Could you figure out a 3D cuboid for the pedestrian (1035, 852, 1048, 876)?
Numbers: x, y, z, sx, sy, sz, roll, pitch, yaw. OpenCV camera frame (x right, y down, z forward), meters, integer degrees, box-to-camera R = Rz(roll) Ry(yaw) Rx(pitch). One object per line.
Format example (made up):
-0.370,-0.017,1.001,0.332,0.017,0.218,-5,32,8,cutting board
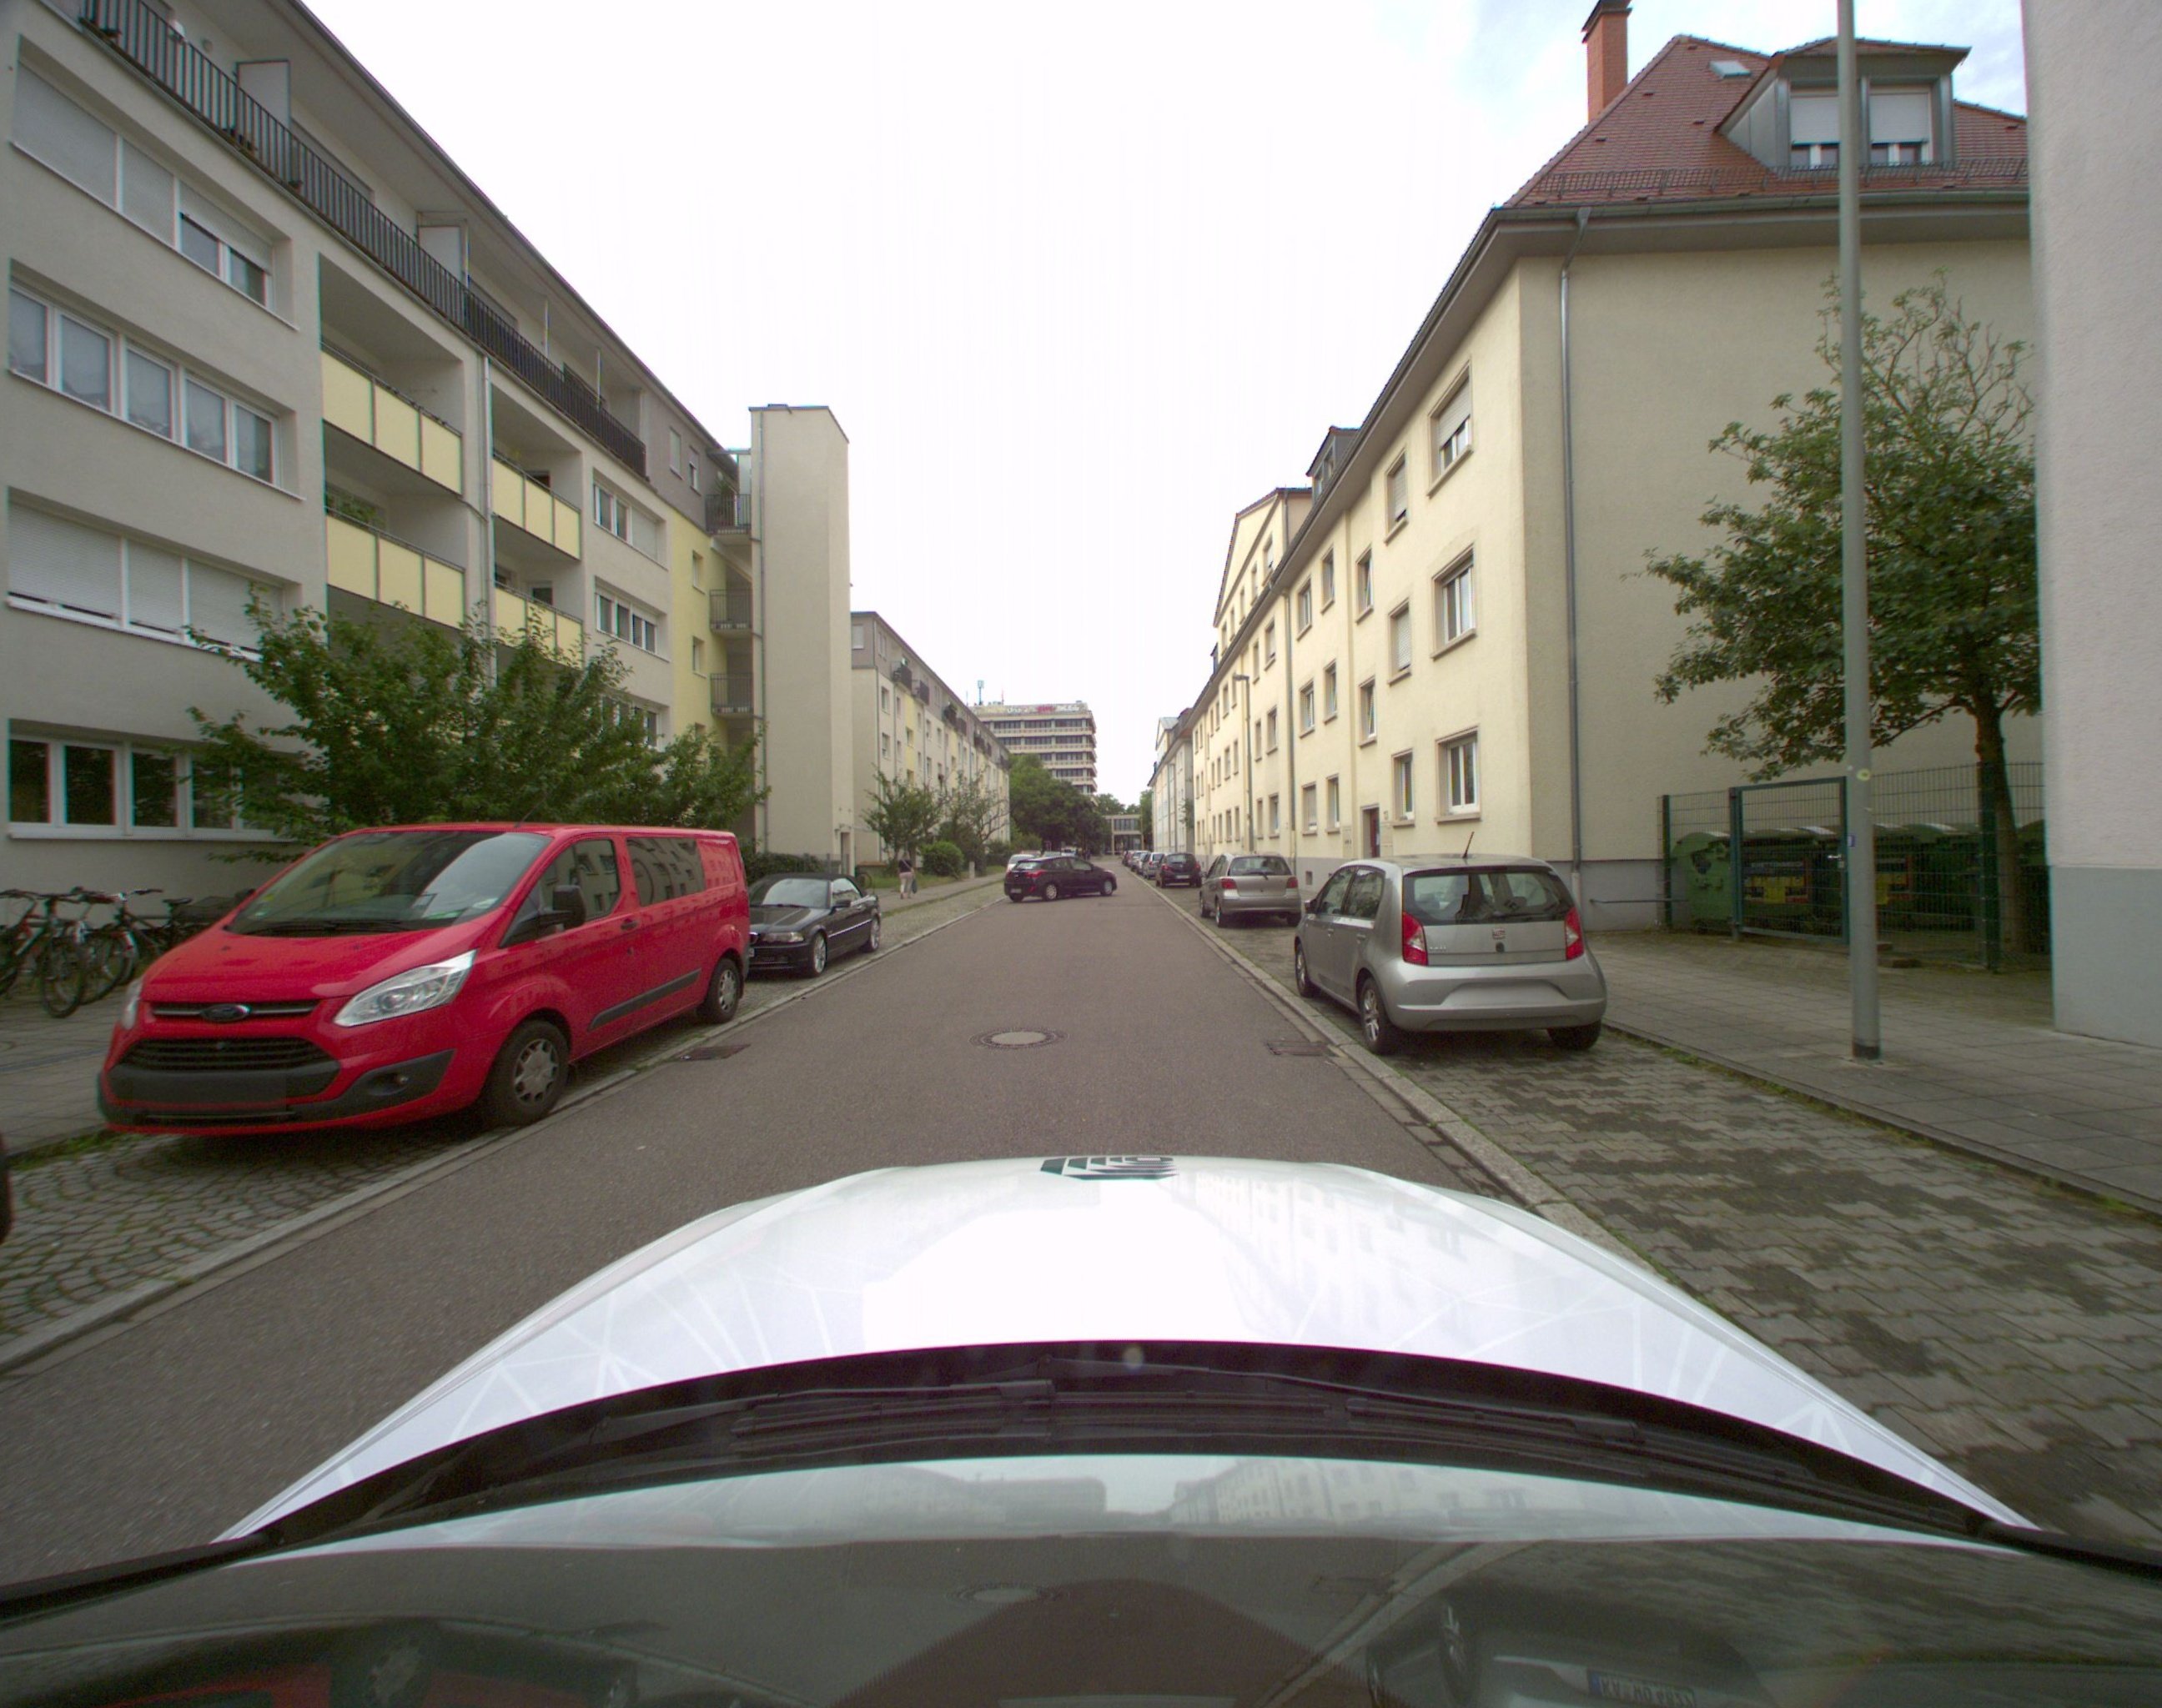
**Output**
-2.844,0.693,58.199,0.742,1.701,0.792,-2,0,-16,pedestrian

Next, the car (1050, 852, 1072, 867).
-1.999,0.545,81.718,1.888,1.452,4.523,1,0,2,car

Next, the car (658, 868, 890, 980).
-4.389,0.926,12.473,1.864,1.323,4.362,0,0,0,car

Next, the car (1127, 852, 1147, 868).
5.506,0.552,80.212,1.813,1.503,4.094,-1,0,2,car

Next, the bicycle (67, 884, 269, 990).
-10.322,0.921,9.225,1.824,1.118,0.571,-1,0,7,bicycle

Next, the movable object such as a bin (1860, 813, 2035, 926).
11.831,0.202,11.180,1.157,1.443,1.150,-1,0,1,movable object such as a bin

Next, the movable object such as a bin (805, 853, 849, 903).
-7.472,0.689,24.006,0.800,1.429,1.290,0,0,5,movable object such as a bin

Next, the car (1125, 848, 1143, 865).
5.510,0.247,85.263,1.813,1.603,4.094,-1,0,3,car

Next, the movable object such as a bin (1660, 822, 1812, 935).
8.943,0.321,11.190,1.157,1.443,1.150,-1,0,1,movable object such as a bin

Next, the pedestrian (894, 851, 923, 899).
-5.950,0.723,28.077,0.798,1.610,0.946,-2,0,-3,pedestrian

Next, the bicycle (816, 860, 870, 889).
-9.828,0.830,33.624,2.017,1.141,0.623,-1,0,-2,bicycle

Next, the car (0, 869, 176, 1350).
-4.465,0.846,1.162,1.714,1.570,4.056,1,0,2,car

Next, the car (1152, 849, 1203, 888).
4.042,0.579,34.625,1.719,1.517,4.062,-2,0,1,car

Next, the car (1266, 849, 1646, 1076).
3.005,0.728,7.560,1.719,1.492,4.062,-2,0,1,car

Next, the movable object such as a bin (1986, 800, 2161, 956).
10.302,0.212,8.171,1.157,1.443,1.150,-1,0,1,movable object such as a bin

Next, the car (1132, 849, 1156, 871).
4.930,0.442,64.154,1.813,1.642,4.094,-1,0,3,car

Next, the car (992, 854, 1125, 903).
-0.691,0.759,27.230,4.257,1.433,1.886,-2,0,-44,car

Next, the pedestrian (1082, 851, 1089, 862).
0.731,0.413,125.400,0.968,1.654,0.981,-2,0,1,pedestrian

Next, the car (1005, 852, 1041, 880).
-3.323,0.652,47.213,1.714,1.570,3.872,1,0,2,car

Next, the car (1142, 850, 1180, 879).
4.372,0.546,44.831,1.842,1.450,3.834,-1,0,2,car

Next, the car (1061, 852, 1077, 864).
-1.580,0.485,108.524,1.987,1.541,3.999,0,0,-1,car

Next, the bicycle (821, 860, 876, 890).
-9.331,0.836,32.741,2.022,1.141,0.621,-1,0,-9,bicycle

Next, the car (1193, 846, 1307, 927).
3.535,0.629,17.723,1.719,1.517,4.062,-2,0,1,car

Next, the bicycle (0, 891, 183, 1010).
-10.298,0.961,8.248,1.827,1.118,0.571,-1,0,3,bicycle

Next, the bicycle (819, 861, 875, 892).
-9.227,0.882,32.116,2.021,1.141,0.621,-1,0,-8,bicycle

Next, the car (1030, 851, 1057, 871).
-2.949,0.511,64.711,1.738,1.464,3.787,-1,0,2,car

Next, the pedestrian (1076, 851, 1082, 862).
-0.311,0.420,126.319,0.968,1.654,0.981,-2,0,1,pedestrian

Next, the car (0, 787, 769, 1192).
-4.482,0.652,6.413,2.145,1.954,4.920,1,0,-1,car

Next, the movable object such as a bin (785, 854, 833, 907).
-7.557,0.719,22.685,0.800,1.429,1.289,0,0,4,movable object such as a bin

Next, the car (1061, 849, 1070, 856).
-3.188,-0.351,166.814,1.659,1.333,3.397,-1,1,2,car

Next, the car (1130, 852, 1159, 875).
4.268,0.627,55.301,1.718,1.476,4.507,-1,0,2,car

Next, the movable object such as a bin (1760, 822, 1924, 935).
10.372,0.312,11.161,1.157,1.443,1.150,-1,0,1,movable object such as a bin

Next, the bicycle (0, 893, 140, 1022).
-10.020,0.944,7.570,1.828,1.118,0.605,0,0,0,bicycle

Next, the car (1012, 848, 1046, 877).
-3.370,0.532,53.054,1.950,1.770,4.360,0,0,-1,car
